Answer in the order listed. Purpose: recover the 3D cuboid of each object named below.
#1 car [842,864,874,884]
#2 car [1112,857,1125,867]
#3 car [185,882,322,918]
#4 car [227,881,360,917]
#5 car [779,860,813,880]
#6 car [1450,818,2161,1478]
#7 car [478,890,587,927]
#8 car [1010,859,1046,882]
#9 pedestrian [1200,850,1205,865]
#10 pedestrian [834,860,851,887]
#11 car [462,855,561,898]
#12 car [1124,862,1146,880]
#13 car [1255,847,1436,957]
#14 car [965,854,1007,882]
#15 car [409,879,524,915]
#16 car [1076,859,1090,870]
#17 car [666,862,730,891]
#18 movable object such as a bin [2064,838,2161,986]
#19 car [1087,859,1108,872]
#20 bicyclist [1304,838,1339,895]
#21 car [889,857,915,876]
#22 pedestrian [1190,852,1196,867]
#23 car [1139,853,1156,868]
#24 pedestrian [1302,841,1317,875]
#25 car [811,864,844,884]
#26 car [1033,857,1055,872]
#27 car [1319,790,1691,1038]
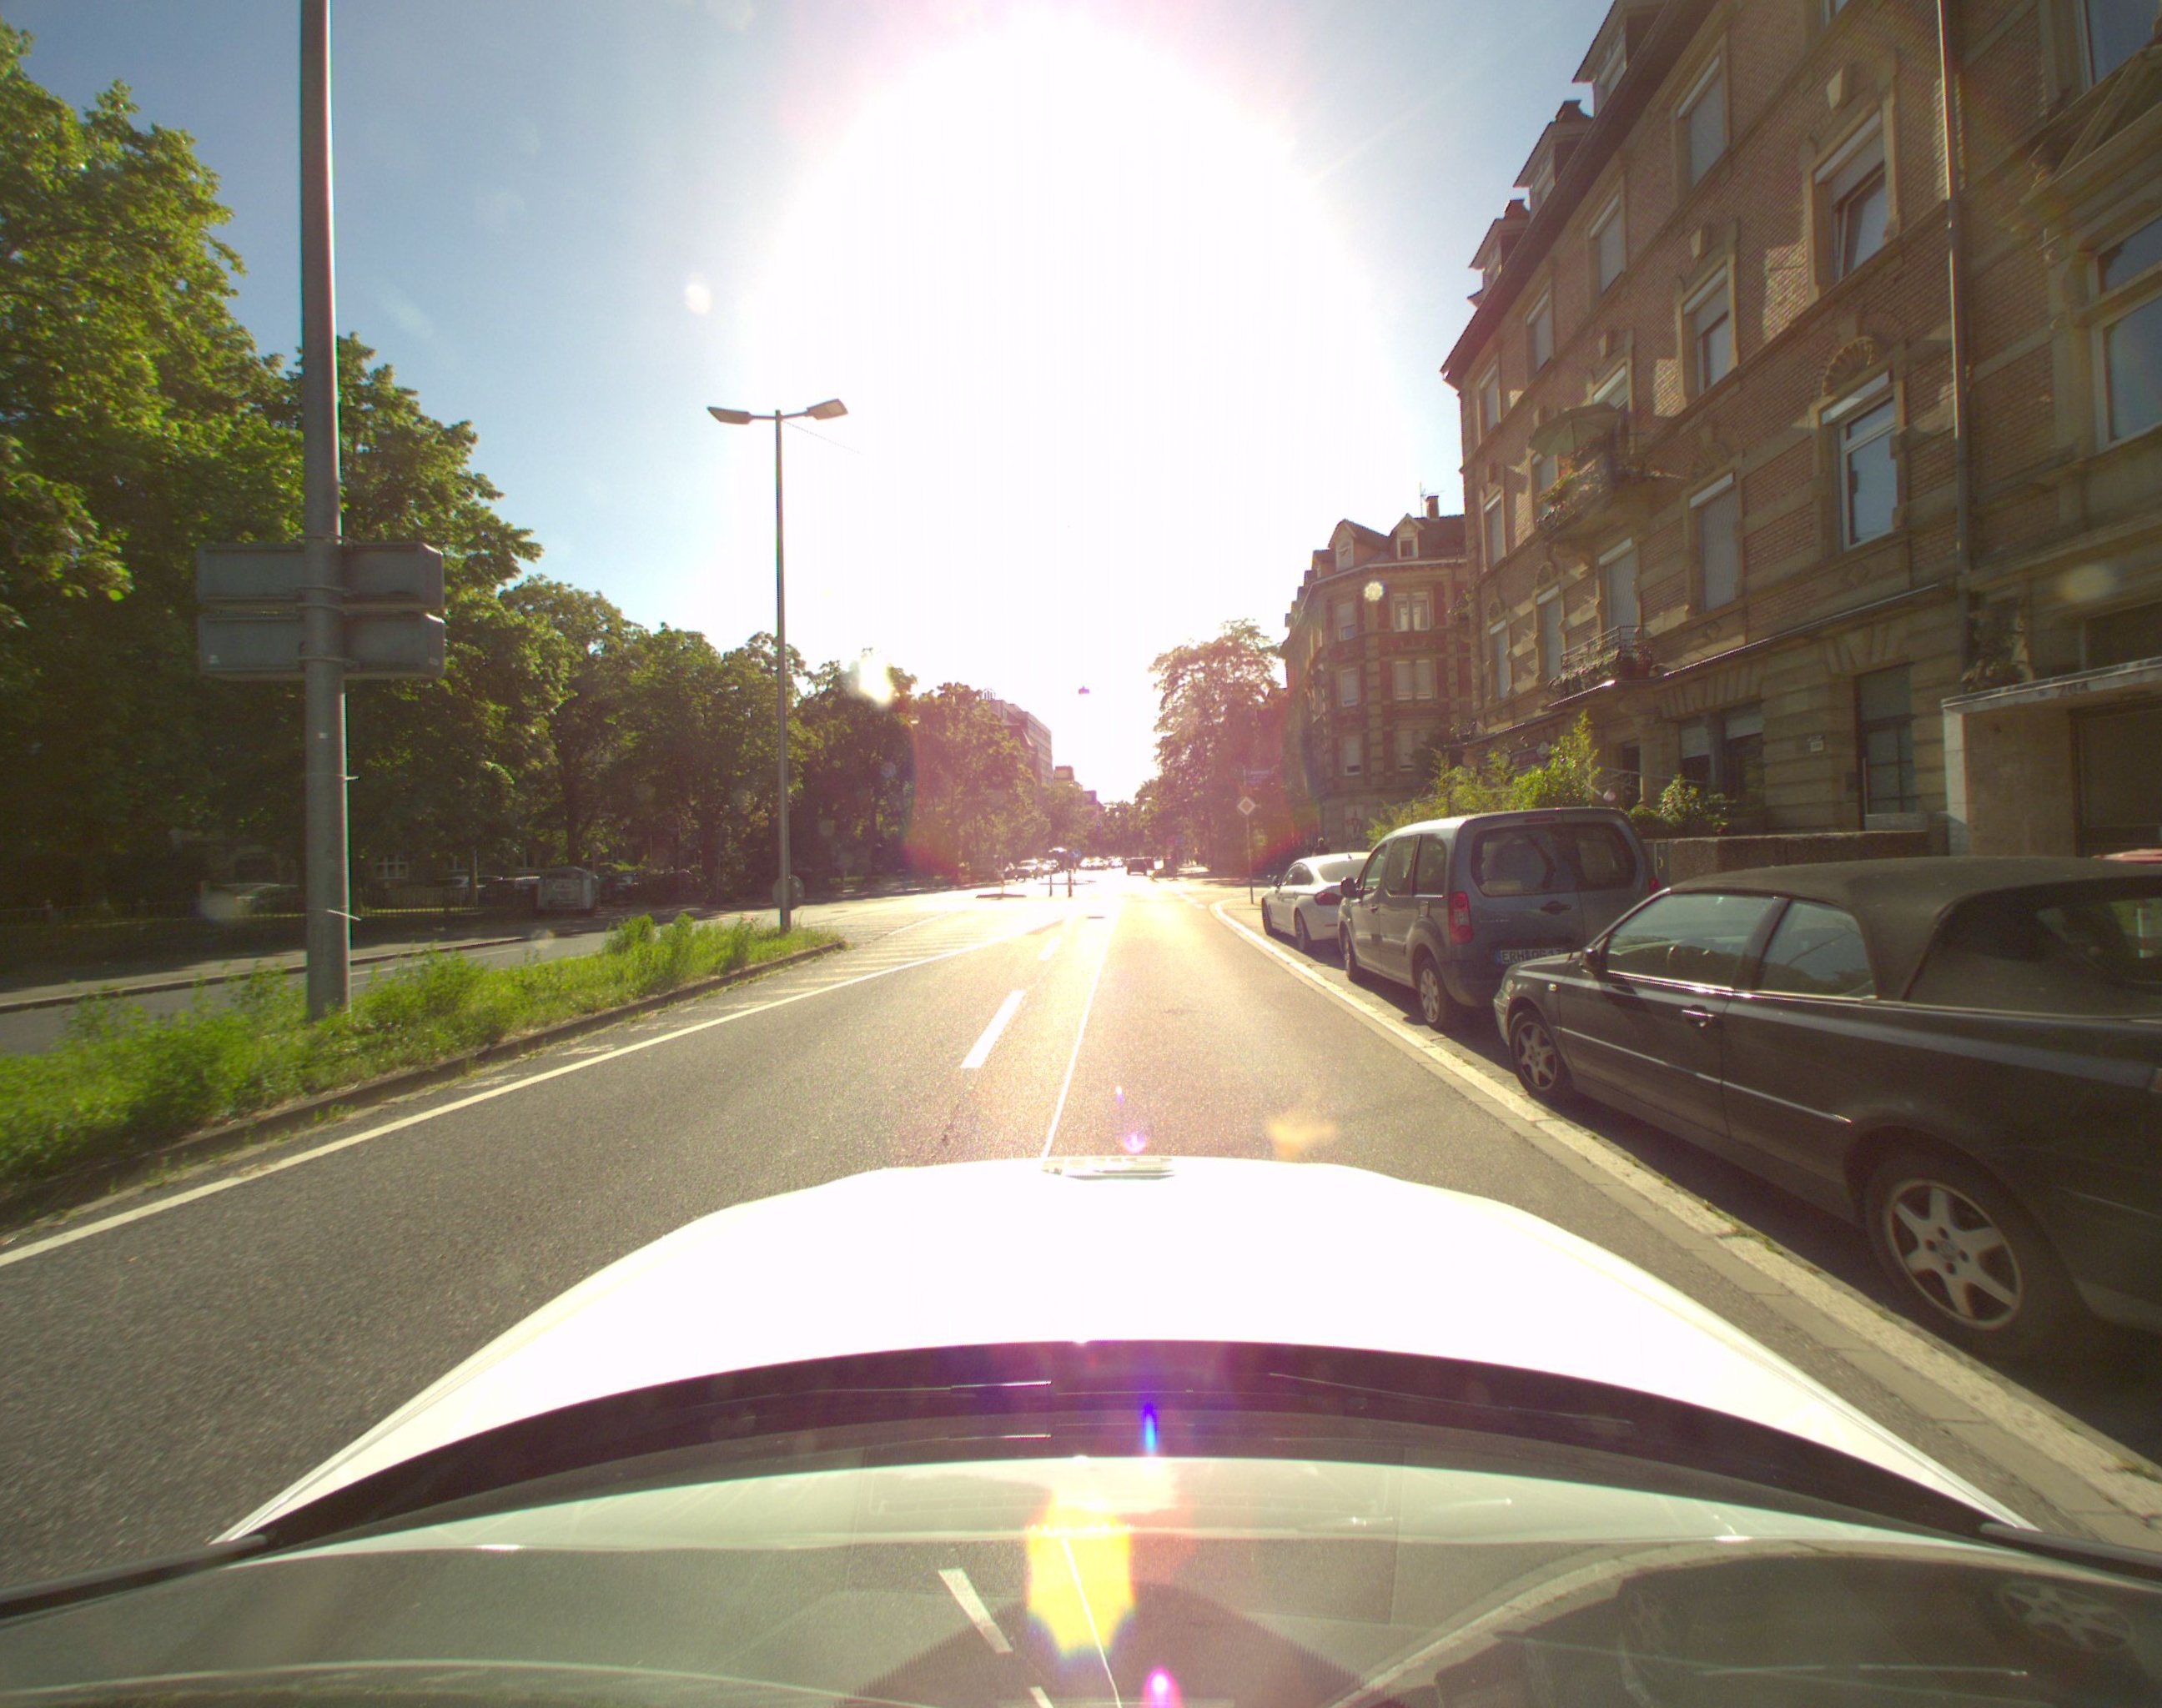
[{"bbox_3d":[-20.019,1.810,72.924,1.986,1.662,3.964,-2,0,-27],"label":"car"},{"bbox_3d":[5.964,1.203,129.286,1.628,1.519,4.041,-2,0,10],"label":"car"},{"bbox_3d":[-36.894,2.039,36.483,1.838,1.491,4.002,-1,-3,3],"label":"car"},{"bbox_3d":[-34.892,2.004,36.248,1.838,1.491,4.002,-1,-3,3],"label":"car"},{"bbox_3d":[-25.015,1.416,71.391,1.988,1.662,3.961,-2,0,-30],"label":"car"},{"bbox_3d":[3.377,0.620,3.774,1.660,1.468,4.279,-2,0,5],"label":"car"},{"bbox_3d":[-23.863,2.351,35.629,1.838,1.491,4.002,-1,-3,3],"label":"car"},{"bbox_3d":[-3.947,1.200,61.522,1.748,1.519,3.870,-3,0,10],"label":"car"},{"bbox_3d":[16.041,0.477,107.522,0.474,2.014,0.493,-1,-3,3],"label":"pedestrian"},{"bbox_3d":[-14.654,1.224,49.996,0.662,1.626,0.720,-2,0,36],"label":"pedestrian"},{"bbox_3d":[-32.555,1.359,46.774,1.838,2.324,4.987,0,-4,3],"label":"car"},{"bbox_3d":[4.924,1.520,74.473,1.886,1.519,4.004,1,1,3],"label":"car"},{"bbox_3d":[4.099,0.660,13.343,1.702,1.425,4.208,-3,0,3],"label":"car"},{"bbox_3d":[-7.214,1.036,62.037,2.188,1.929,4.868,-2,0,5],"label":"car"},{"bbox_3d":[-26.982,1.900,35.949,1.838,1.491,4.002,-1,-3,3],"label":"car"},{"bbox_3d":[0.308,1.507,115.857,1.794,1.504,3.812,-2,0,4],"label":"car"},{"bbox_3d":[-23.269,1.389,49.632,1.838,1.654,4.002,-1,-3,3],"label":"car"},{"bbox_3d":[8.802,0.463,6.655,0.719,1.157,0.609,-1,-3,4],"label":"movable object such as a bin"},{"bbox_3d":[2.002,1.369,96.458,1.773,1.460,4.427,-1,-1,10],"label":"car"},{"bbox_3d":[6.856,0.333,23.251,0.738,1.580,1.101,-1,1,4],"label":"bicyclist"},{"bbox_3d":[-16.763,1.118,76.113,1.980,1.662,3.976,-2,0,-18],"label":"car"},{"bbox_3d":[15.469,0.767,112.422,0.612,2.013,0.681,-2,0,3],"label":"pedestrian"},{"bbox_3d":[7.737,0.747,94.212,1.810,1.740,4.008,-1,0,7],"label":"car"},{"bbox_3d":[12.346,0.239,44.011,0.652,1.816,0.753,-1,-3,7],"label":"pedestrian"},{"bbox_3d":[-22.294,1.710,71.513,1.987,1.662,3.963,-2,0,-29],"label":"car"},{"bbox_3d":[-3.739,1.035,83.464,1.514,1.432,3.346,-2,0,10],"label":"car"},{"bbox_3d":[3.872,0.460,8.419,1.811,1.844,4.370,-2,0,5],"label":"car"}]
